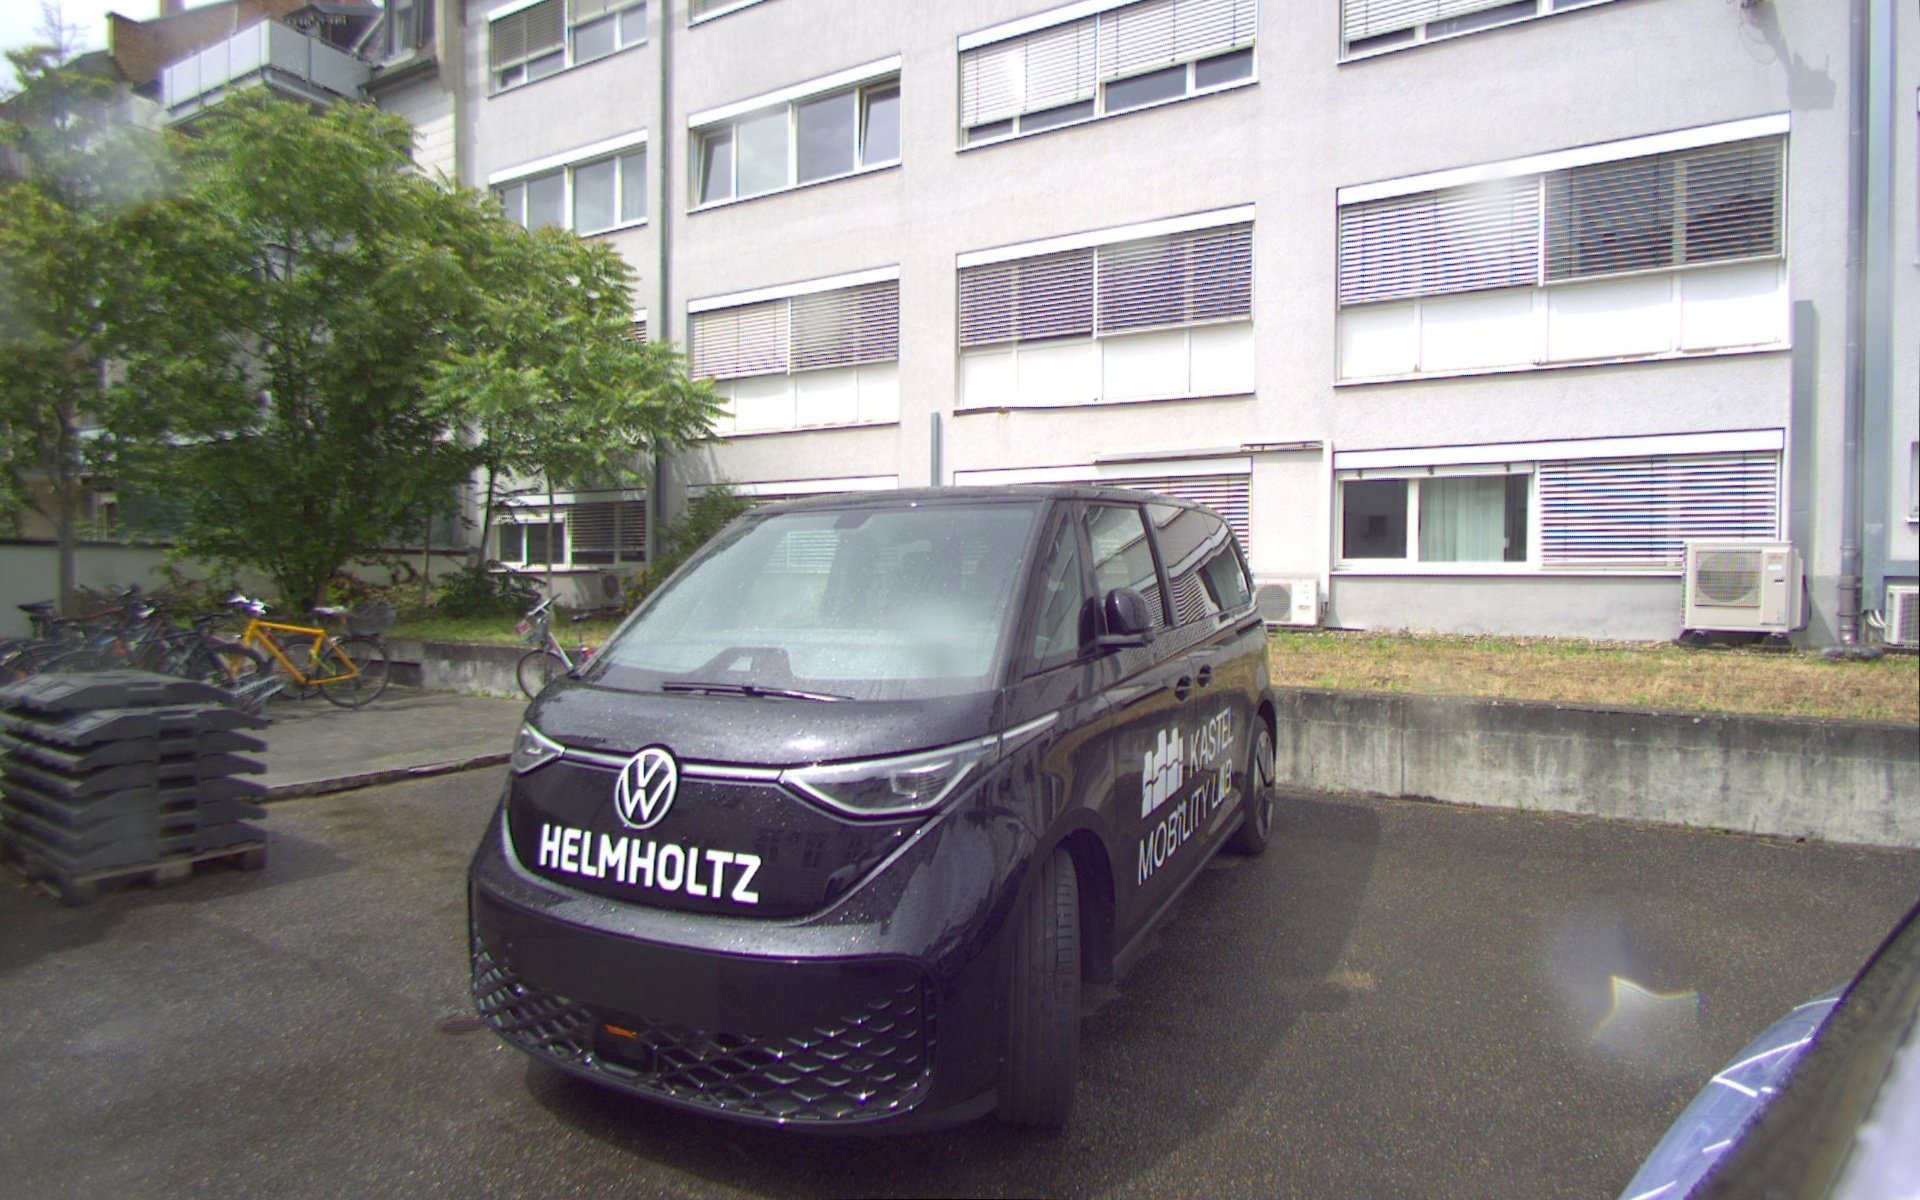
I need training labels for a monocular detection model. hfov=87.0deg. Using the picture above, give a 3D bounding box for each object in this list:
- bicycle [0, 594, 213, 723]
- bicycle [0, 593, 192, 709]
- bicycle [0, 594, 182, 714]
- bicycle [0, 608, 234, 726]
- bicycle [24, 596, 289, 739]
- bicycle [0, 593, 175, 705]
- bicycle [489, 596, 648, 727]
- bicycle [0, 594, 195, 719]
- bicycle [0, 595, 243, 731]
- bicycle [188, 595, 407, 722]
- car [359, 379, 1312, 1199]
[{"bbox_3d":[-8.279,0.515,9.780,0.330,1.117,1.738,1,1,28],"label":"bicycle"},{"bbox_3d":[-9.262,0.498,10.783,0.352,1.117,1.738,1,1,28],"label":"bicycle"},{"bbox_3d":[-8.965,0.507,10.252,0.342,1.117,1.738,1,1,28],"label":"bicycle"},{"bbox_3d":[-7.977,0.587,9.626,0.327,0.979,1.779,1,1,28],"label":"bicycle"},{"bbox_3d":[-6.948,0.531,8.849,0.403,1.117,1.773,2,1,36],"label":"bicycle"},{"bbox_3d":[-9.590,0.495,10.958,0.339,1.117,1.738,1,1,28],"label":"bicycle"},{"bbox_3d":[-3.802,0.548,9.766,1.783,1.117,0.442,2,4,33],"label":"bicycle"},{"bbox_3d":[-8.590,0.514,9.936,0.339,1.117,1.738,1,1,28],"label":"bicycle"},{"bbox_3d":[-7.648,0.524,9.244,0.352,1.117,1.773,2,1,36],"label":"bicycle"},{"bbox_3d":[-6.387,0.519,9.861,0.365,1.117,1.773,2,1,36],"label":"bicycle"},{"bbox_3d":[0.221,0.426,4.532,1.952,1.888,4.705,0,2,27],"label":"car"}]
